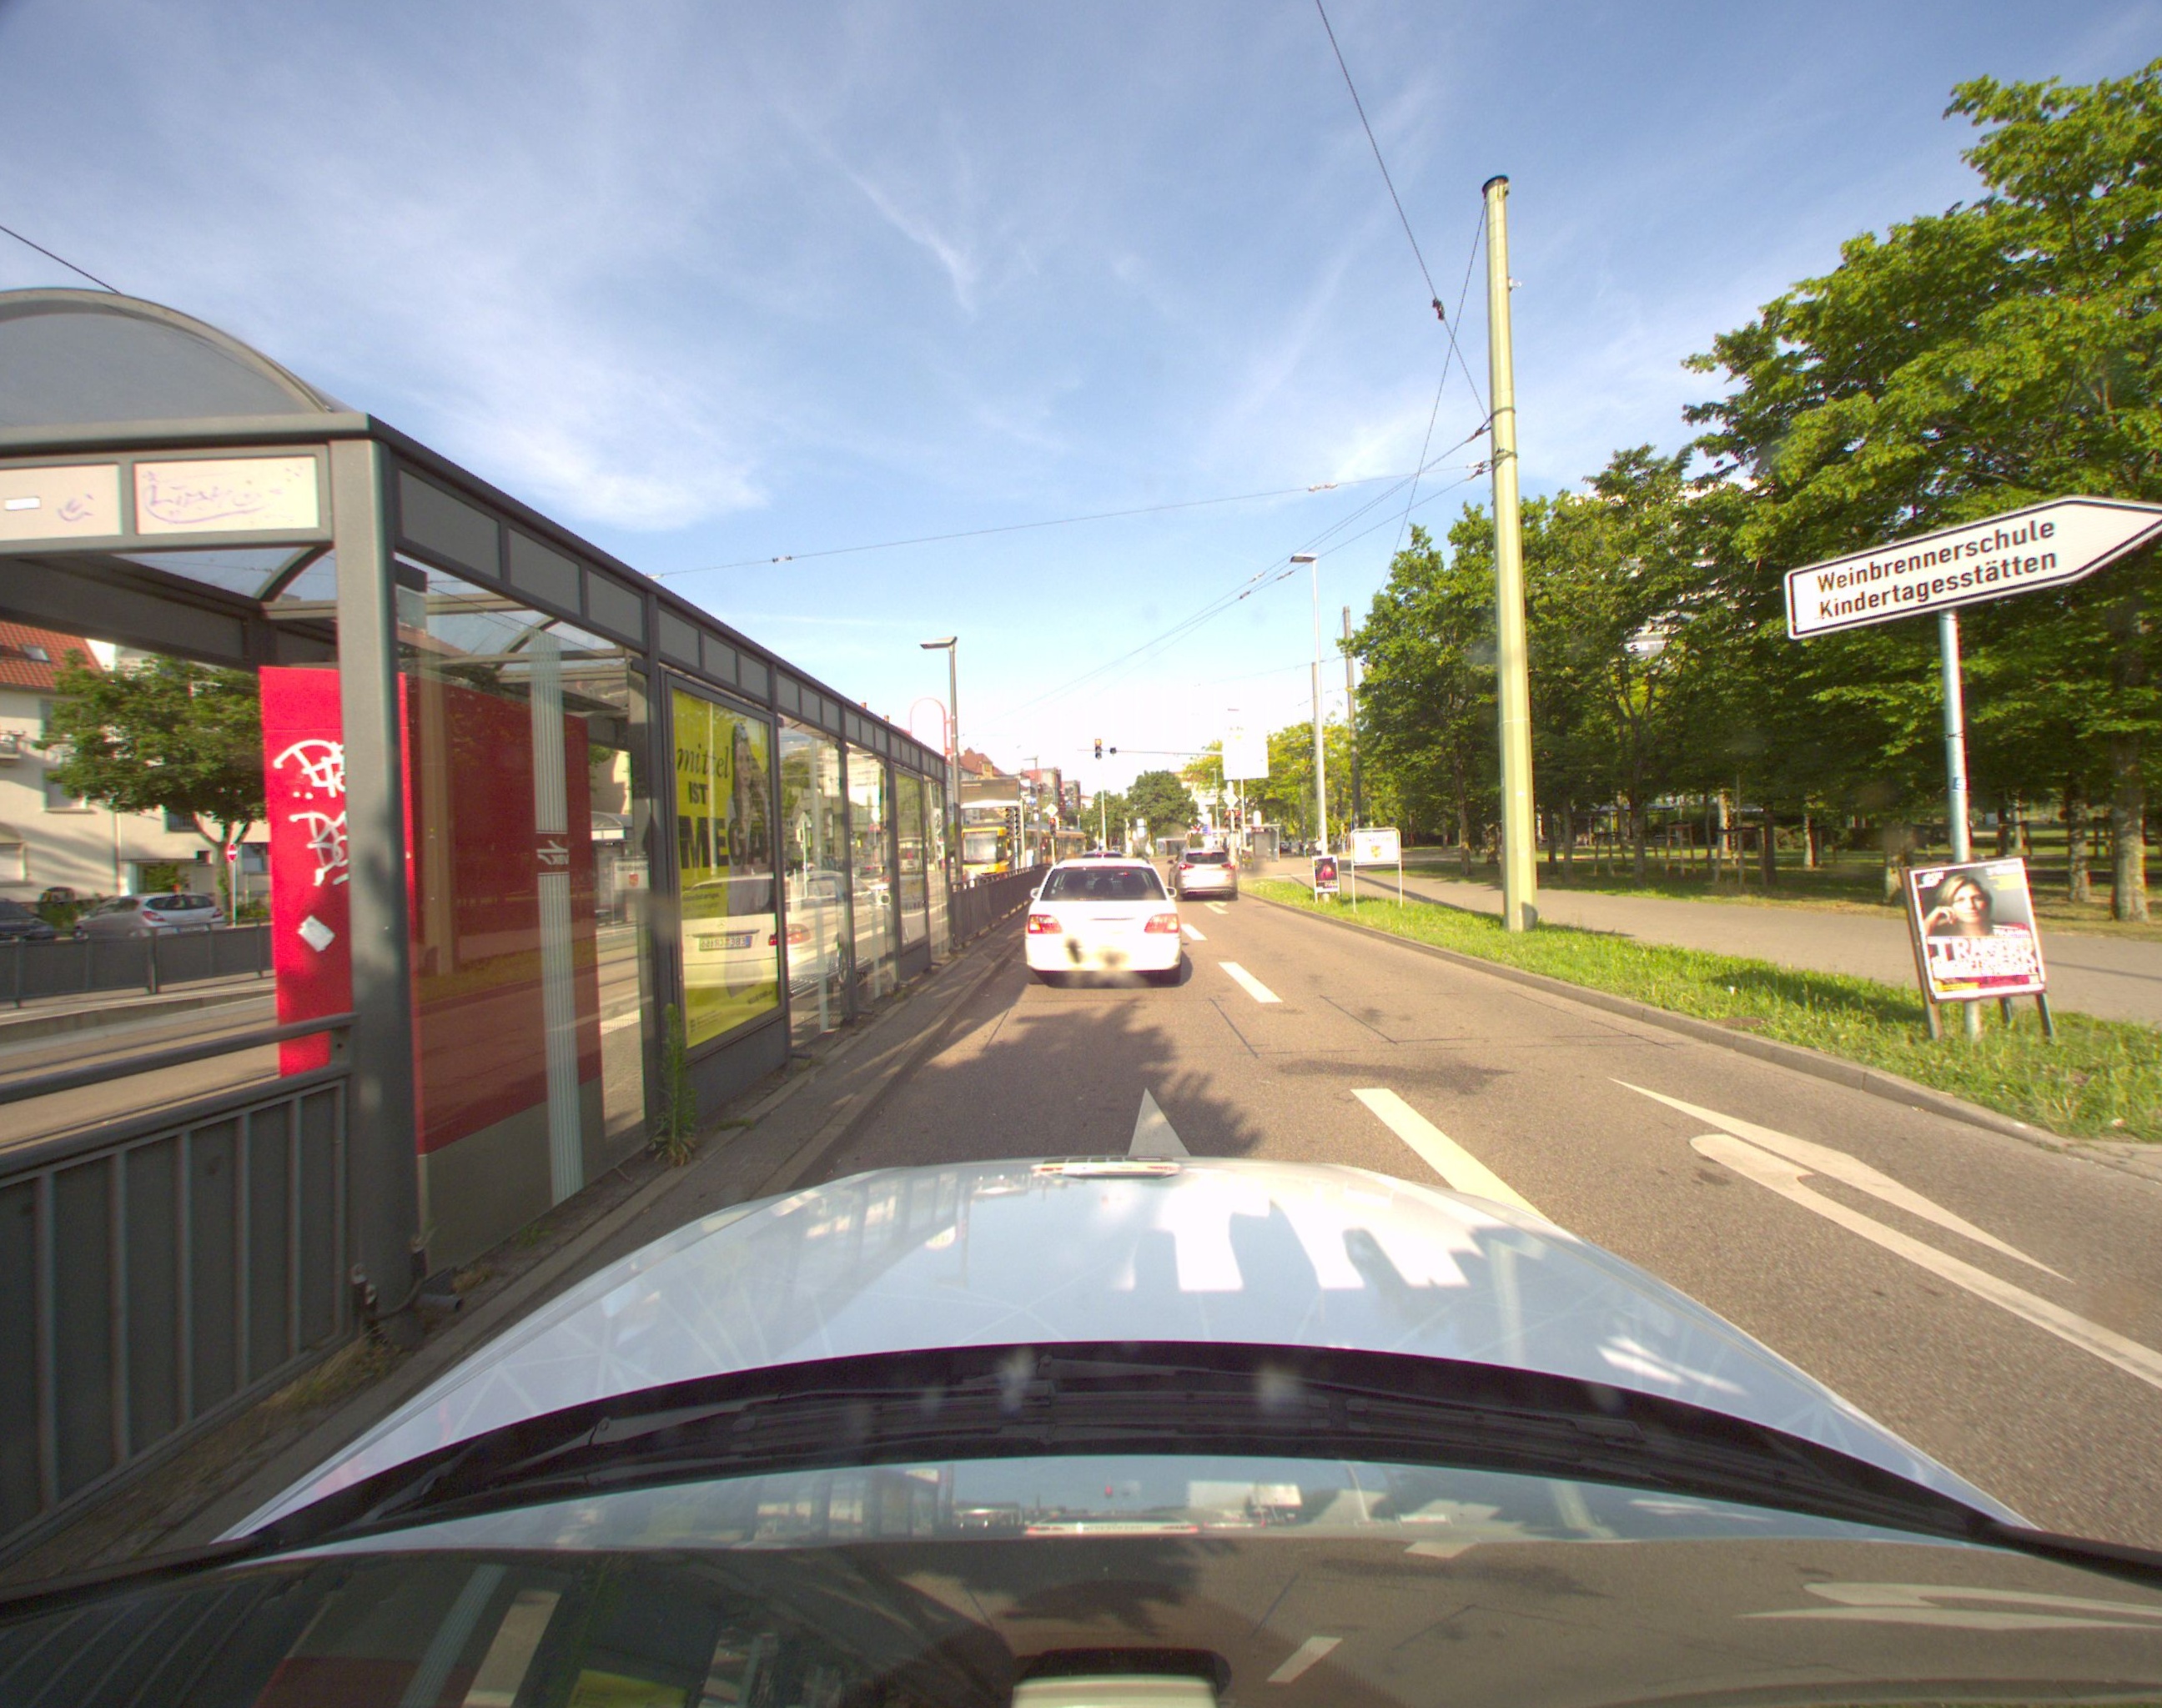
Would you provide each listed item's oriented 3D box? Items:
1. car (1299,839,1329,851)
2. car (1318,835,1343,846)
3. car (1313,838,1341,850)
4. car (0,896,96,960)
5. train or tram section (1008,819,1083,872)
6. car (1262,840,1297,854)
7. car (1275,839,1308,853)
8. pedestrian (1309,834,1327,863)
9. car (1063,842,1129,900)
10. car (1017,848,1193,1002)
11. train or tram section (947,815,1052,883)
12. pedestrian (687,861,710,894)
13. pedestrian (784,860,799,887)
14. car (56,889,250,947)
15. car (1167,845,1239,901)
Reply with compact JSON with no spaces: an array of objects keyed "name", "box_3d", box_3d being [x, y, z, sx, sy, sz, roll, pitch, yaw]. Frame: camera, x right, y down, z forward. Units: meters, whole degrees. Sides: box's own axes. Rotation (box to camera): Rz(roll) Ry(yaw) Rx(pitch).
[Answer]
[{"name":"car","box_3d":[35.017,-1.365,122.273,4.007,1.651,1.983,-3,0,-25]},{"name":"car","box_3d":[42.225,-2.308,137.740,3.957,1.651,2.008,-3,0,15]},{"name":"car","box_3d":[39.897,-1.609,132.144,4.007,1.651,1.983,-3,0,-25]},{"name":"car","box_3d":[-27.071,1.834,20.128,3.957,1.398,2.009,-2,0,16]},{"name":"train or tram section","box_3d":[-2.389,-0.647,61.324,2.832,3.479,13.236,-2,1,10]},{"name":"car","box_3d":[25.529,-0.909,104.867,3.950,1.651,2.012,-3,0,27]},{"name":"car","box_3d":[28.977,-1.084,112.043,4.007,1.651,1.983,-3,0,-25]},{"name":"pedestrian","box_3d":[13.768,-0.319,47.265,0.881,1.652,0.748,-2,0,9]},{"name":"car","box_3d":[0.564,0.487,26.507,1.778,1.689,4.007,-2,1,6]},{"name":"car","box_3d":[0.270,0.732,10.449,1.752,1.503,4.000,-3,0,0]},{"name":"train or tram section","box_3d":[-4.453,-0.358,48.414,2.833,3.479,13.234,-1,1,9]},{"name":"pedestrian","box_3d":[-20.960,1.278,44.637,0.886,1.753,0.743,-2,0,-10]},{"name":"pedestrian","box_3d":[-19.307,1.292,54.346,0.662,1.753,0.747,-2,0,5]},{"name":"car","box_3d":[-25.952,1.770,22.821,3.957,1.398,2.009,-2,0,16]},{"name":"car","box_3d":[3.815,0.547,26.046,2.023,1.605,4.007,-2,1,6]}]
